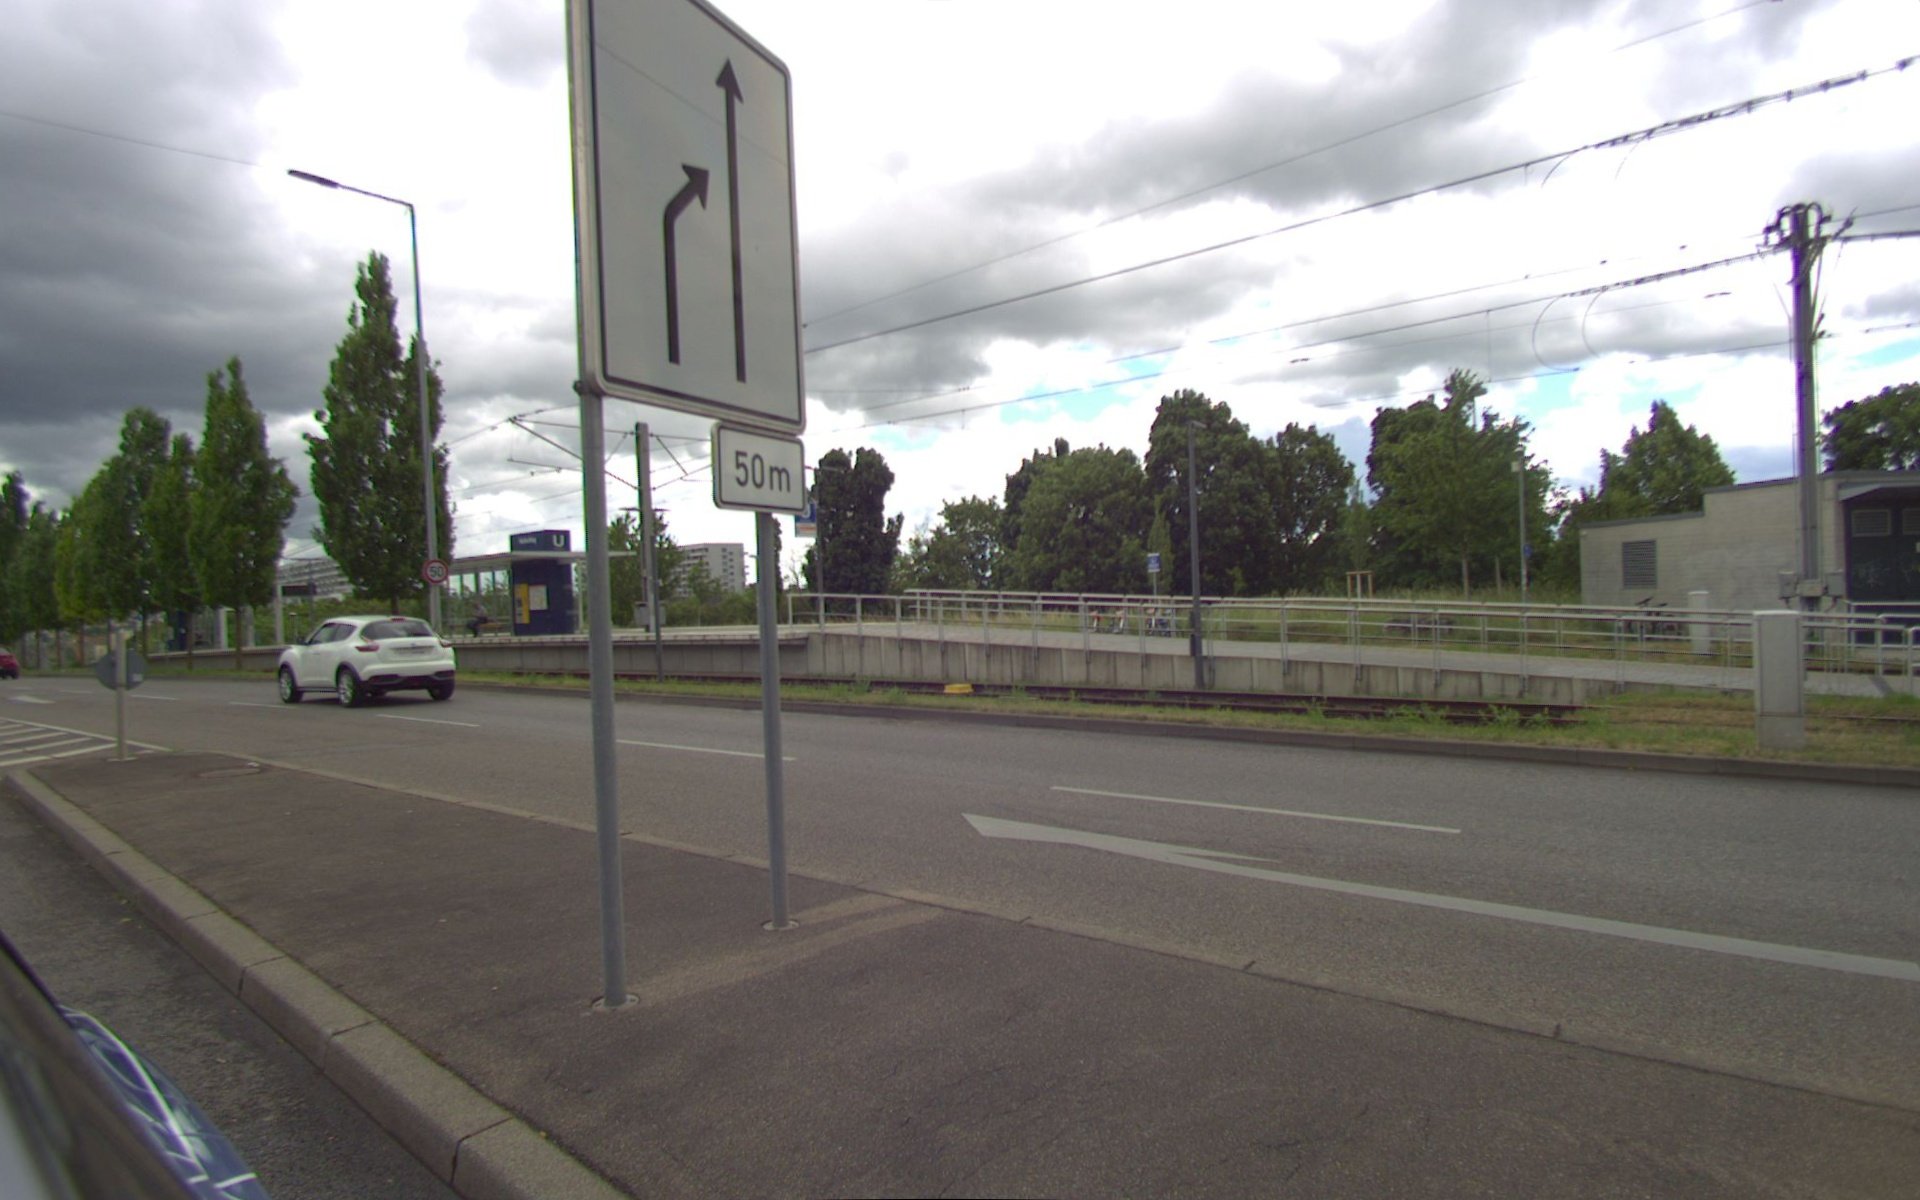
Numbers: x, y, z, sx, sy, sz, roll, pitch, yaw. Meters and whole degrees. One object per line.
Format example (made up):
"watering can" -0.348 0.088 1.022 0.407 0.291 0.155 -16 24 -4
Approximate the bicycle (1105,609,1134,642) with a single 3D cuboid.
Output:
"bicycle" 5.437 0.867 34.460 0.490 1.095 1.466 -2 -1 30

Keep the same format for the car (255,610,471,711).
"car" -10.975 1.031 18.508 4.416 1.641 1.813 -1 -1 36

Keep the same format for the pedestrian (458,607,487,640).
"pedestrian" -18.253 0.879 37.876 0.781 1.211 0.656 -2 -1 33

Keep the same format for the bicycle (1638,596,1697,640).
"bicycle" 18.191 0.457 26.059 0.486 1.095 1.480 -1 -1 3

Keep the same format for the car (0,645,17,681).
"car" -40.767 2.649 42.001 4.420 1.454 1.763 -3 -1 39

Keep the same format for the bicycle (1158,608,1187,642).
"bicycle" 7.043 0.815 33.468 0.490 1.095 1.466 -2 -1 30

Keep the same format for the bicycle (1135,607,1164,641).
"bicycle" 6.377 0.805 33.949 0.490 1.095 1.466 -2 -1 30

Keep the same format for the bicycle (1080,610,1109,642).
"bicycle" 4.680 0.895 35.162 0.490 1.095 1.466 -2 -1 30
